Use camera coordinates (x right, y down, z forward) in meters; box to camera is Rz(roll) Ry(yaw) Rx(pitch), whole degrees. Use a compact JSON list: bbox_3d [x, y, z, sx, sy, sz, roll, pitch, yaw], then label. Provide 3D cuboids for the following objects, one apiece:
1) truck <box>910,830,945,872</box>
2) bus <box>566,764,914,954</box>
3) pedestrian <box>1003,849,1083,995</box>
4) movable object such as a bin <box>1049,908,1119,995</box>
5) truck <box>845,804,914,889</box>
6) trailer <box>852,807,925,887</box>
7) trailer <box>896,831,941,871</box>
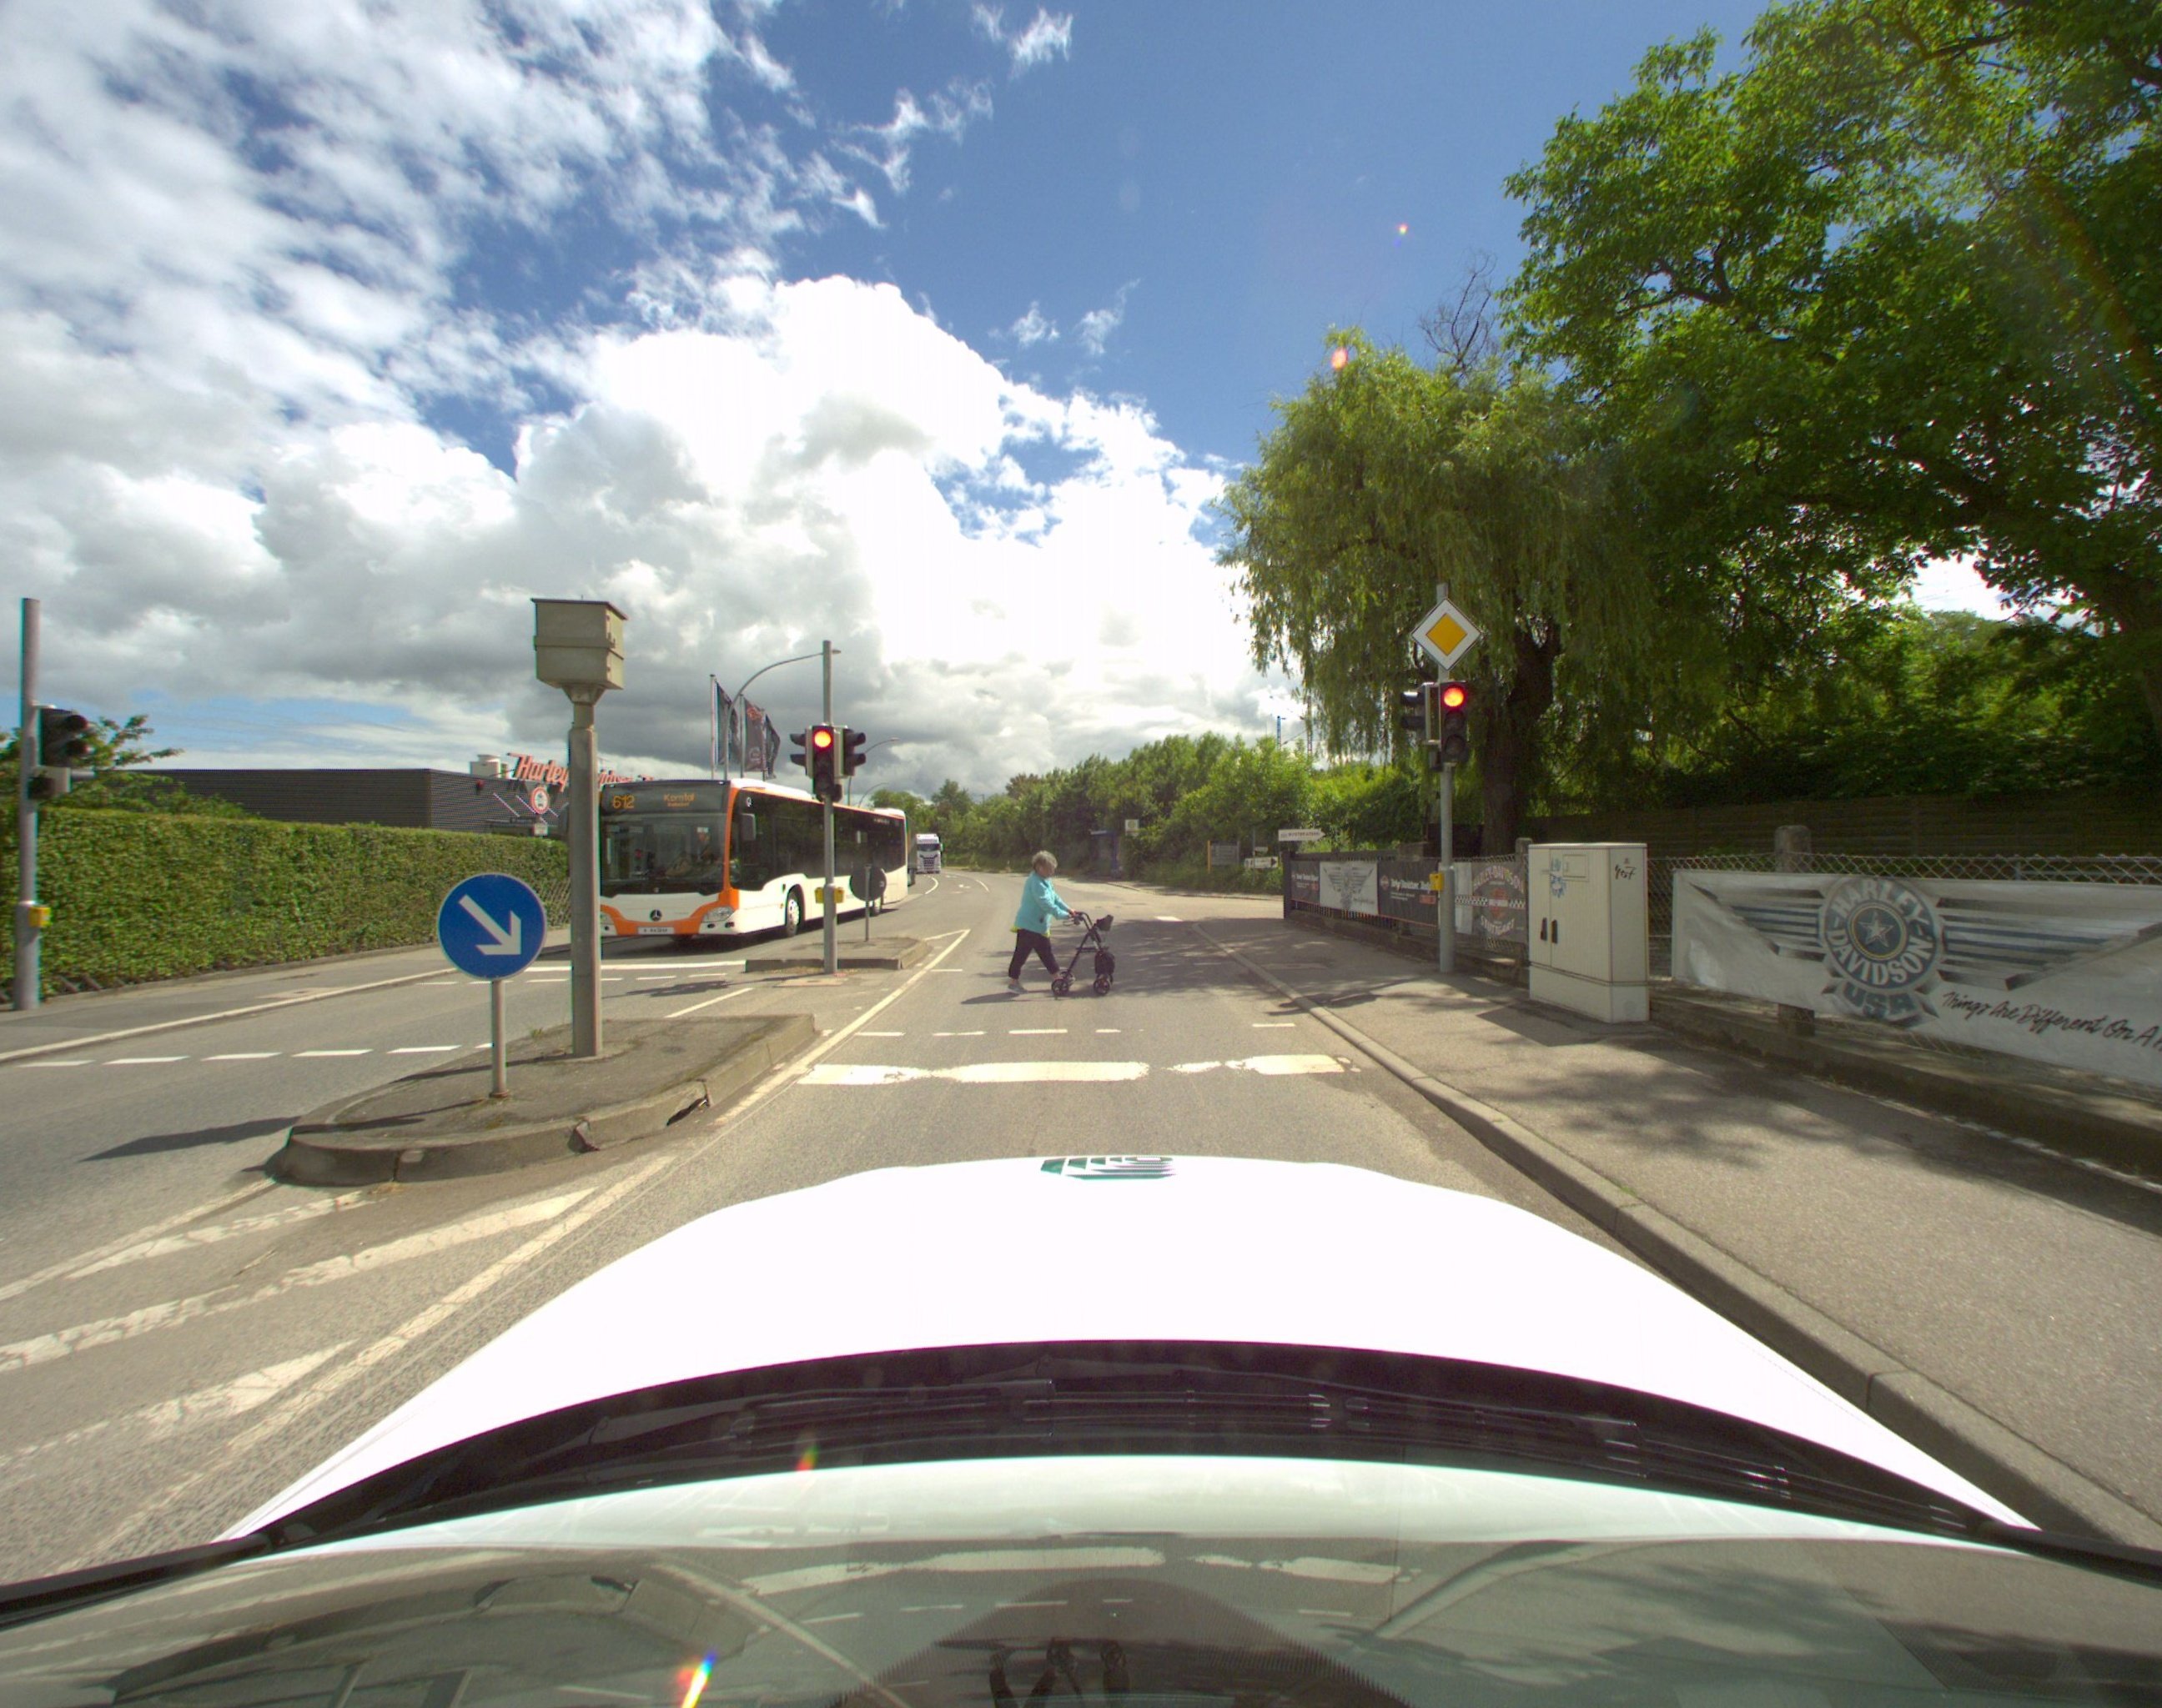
[{"bbox_3d":[-15.801,-0.258,83.653,2.780,4.119,4.953,0,-1,-20],"label":"truck"},{"bbox_3d":[-6.810,0.128,19.371,2.708,3.031,12.270,-2,-1,2],"label":"bus"},{"bbox_3d":[-0.411,0.719,9.002,0.836,1.543,0.733,0,-1,-2],"label":"pedestrian"},{"bbox_3d":[0.025,1.059,9.005,0.744,0.871,0.670,0,-1,-2],"label":"movable object such as a bin"},{"bbox_3d":[-10.274,-0.353,42.103,2.797,4.053,6.483,0,-1,-8],"label":"truck"},{"bbox_3d":[-11.295,-0.287,49.348,2.797,4.053,15.512,0,0,-8],"label":"trailer"},{"bbox_3d":[-18.264,-0.222,90.598,2.780,4.145,15.248,0,-1,-20],"label":"trailer"}]
